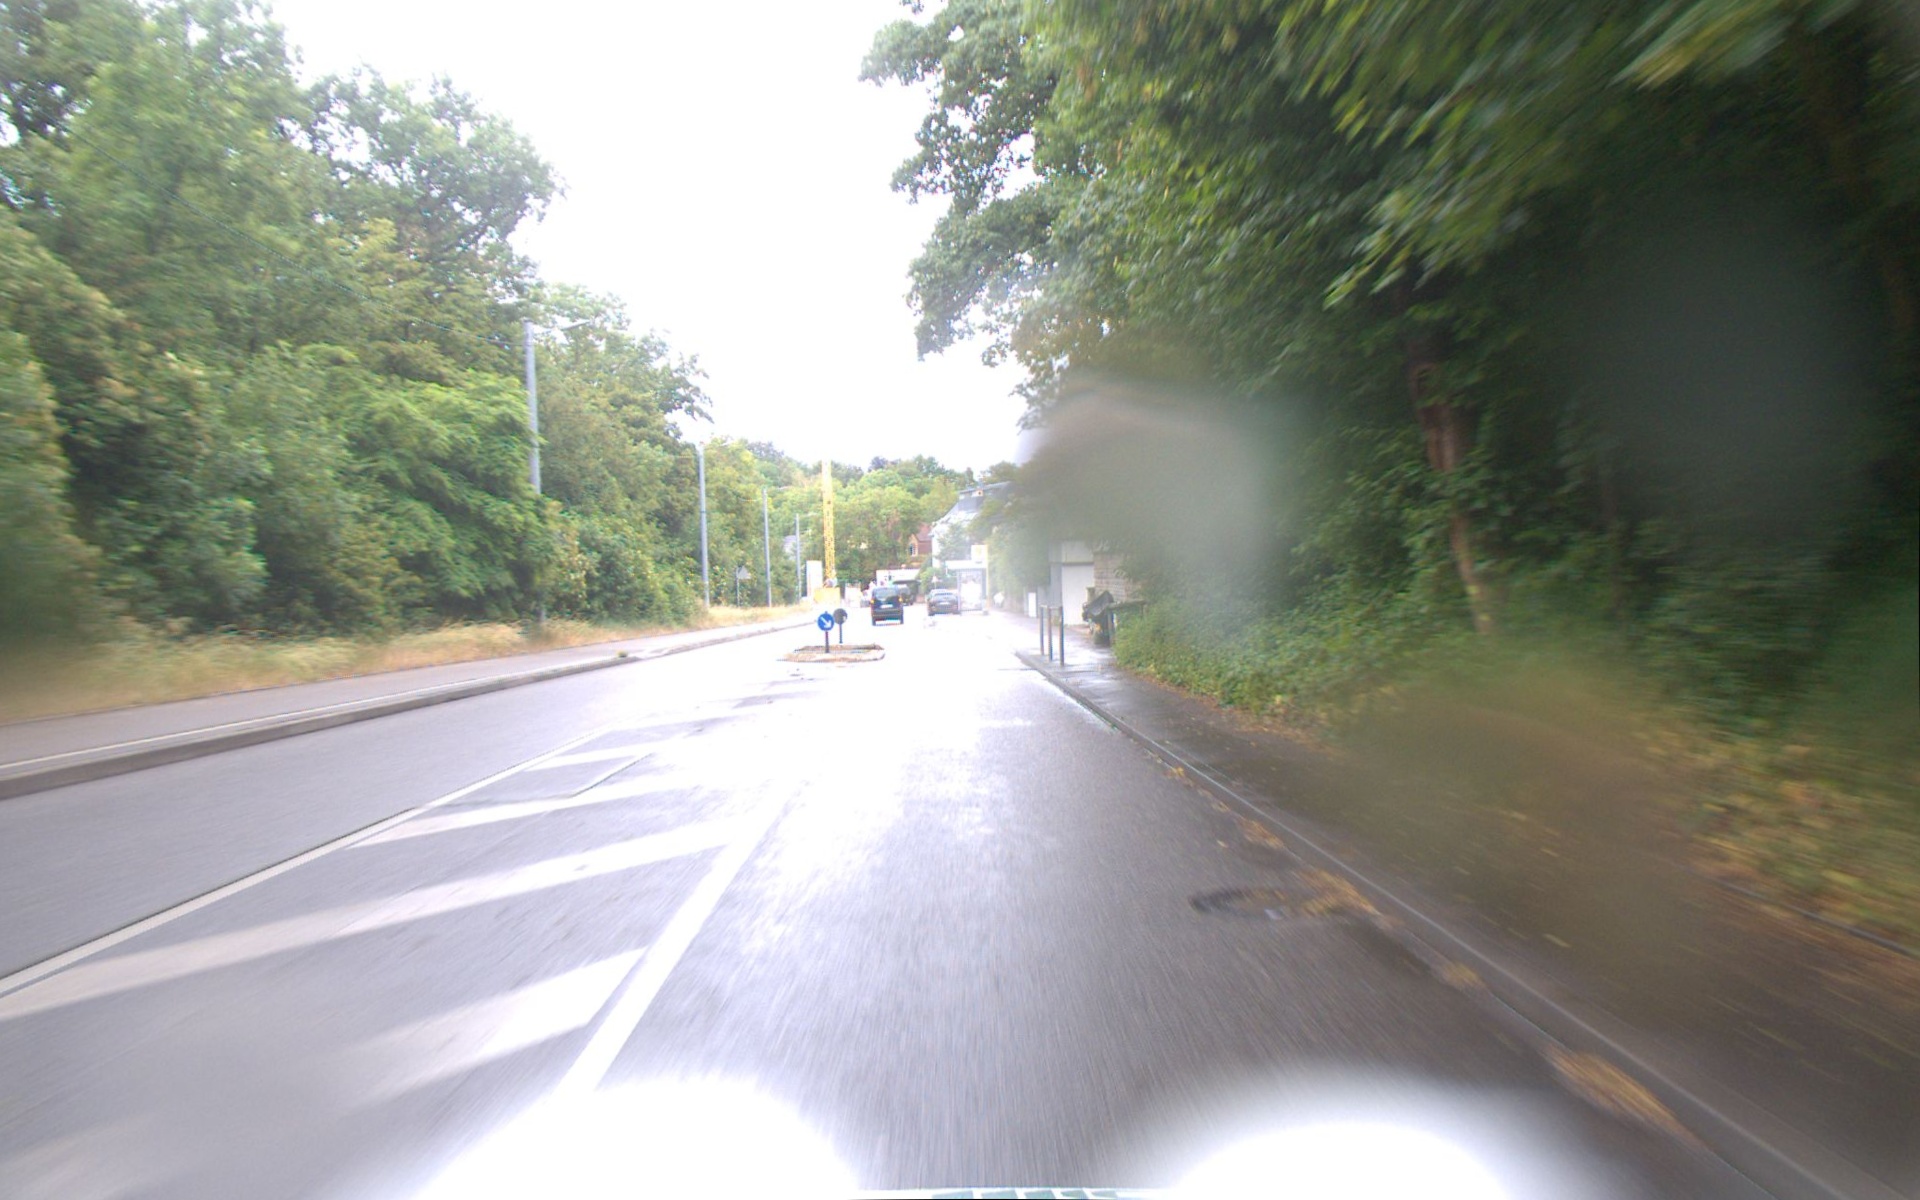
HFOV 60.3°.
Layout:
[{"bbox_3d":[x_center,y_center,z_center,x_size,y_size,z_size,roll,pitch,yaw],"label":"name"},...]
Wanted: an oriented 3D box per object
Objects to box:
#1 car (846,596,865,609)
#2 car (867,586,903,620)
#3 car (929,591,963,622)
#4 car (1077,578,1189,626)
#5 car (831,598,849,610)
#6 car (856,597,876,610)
[{"bbox_3d":[-13.201,0.314,208.610,1.711,1.579,3.841,1,0,-15],"label":"car"},{"bbox_3d":[-3.691,0.125,82.250,1.634,1.621,3.682,-1,0,-1],"label":"car"},{"bbox_3d":[-0.841,0.364,98.426,1.953,1.803,4.114,0,0,-1],"label":"car"},{"bbox_3d":[6.007,0.056,57.752,3.694,1.580,1.608,-1,0,-2],"label":"car"},{"bbox_3d":[-15.599,0.539,214.943,1.711,1.579,3.841,-1,0,-15],"label":"car"},{"bbox_3d":[-11.555,0.456,203.387,1.711,1.579,3.841,-1,0,-15],"label":"car"}]
